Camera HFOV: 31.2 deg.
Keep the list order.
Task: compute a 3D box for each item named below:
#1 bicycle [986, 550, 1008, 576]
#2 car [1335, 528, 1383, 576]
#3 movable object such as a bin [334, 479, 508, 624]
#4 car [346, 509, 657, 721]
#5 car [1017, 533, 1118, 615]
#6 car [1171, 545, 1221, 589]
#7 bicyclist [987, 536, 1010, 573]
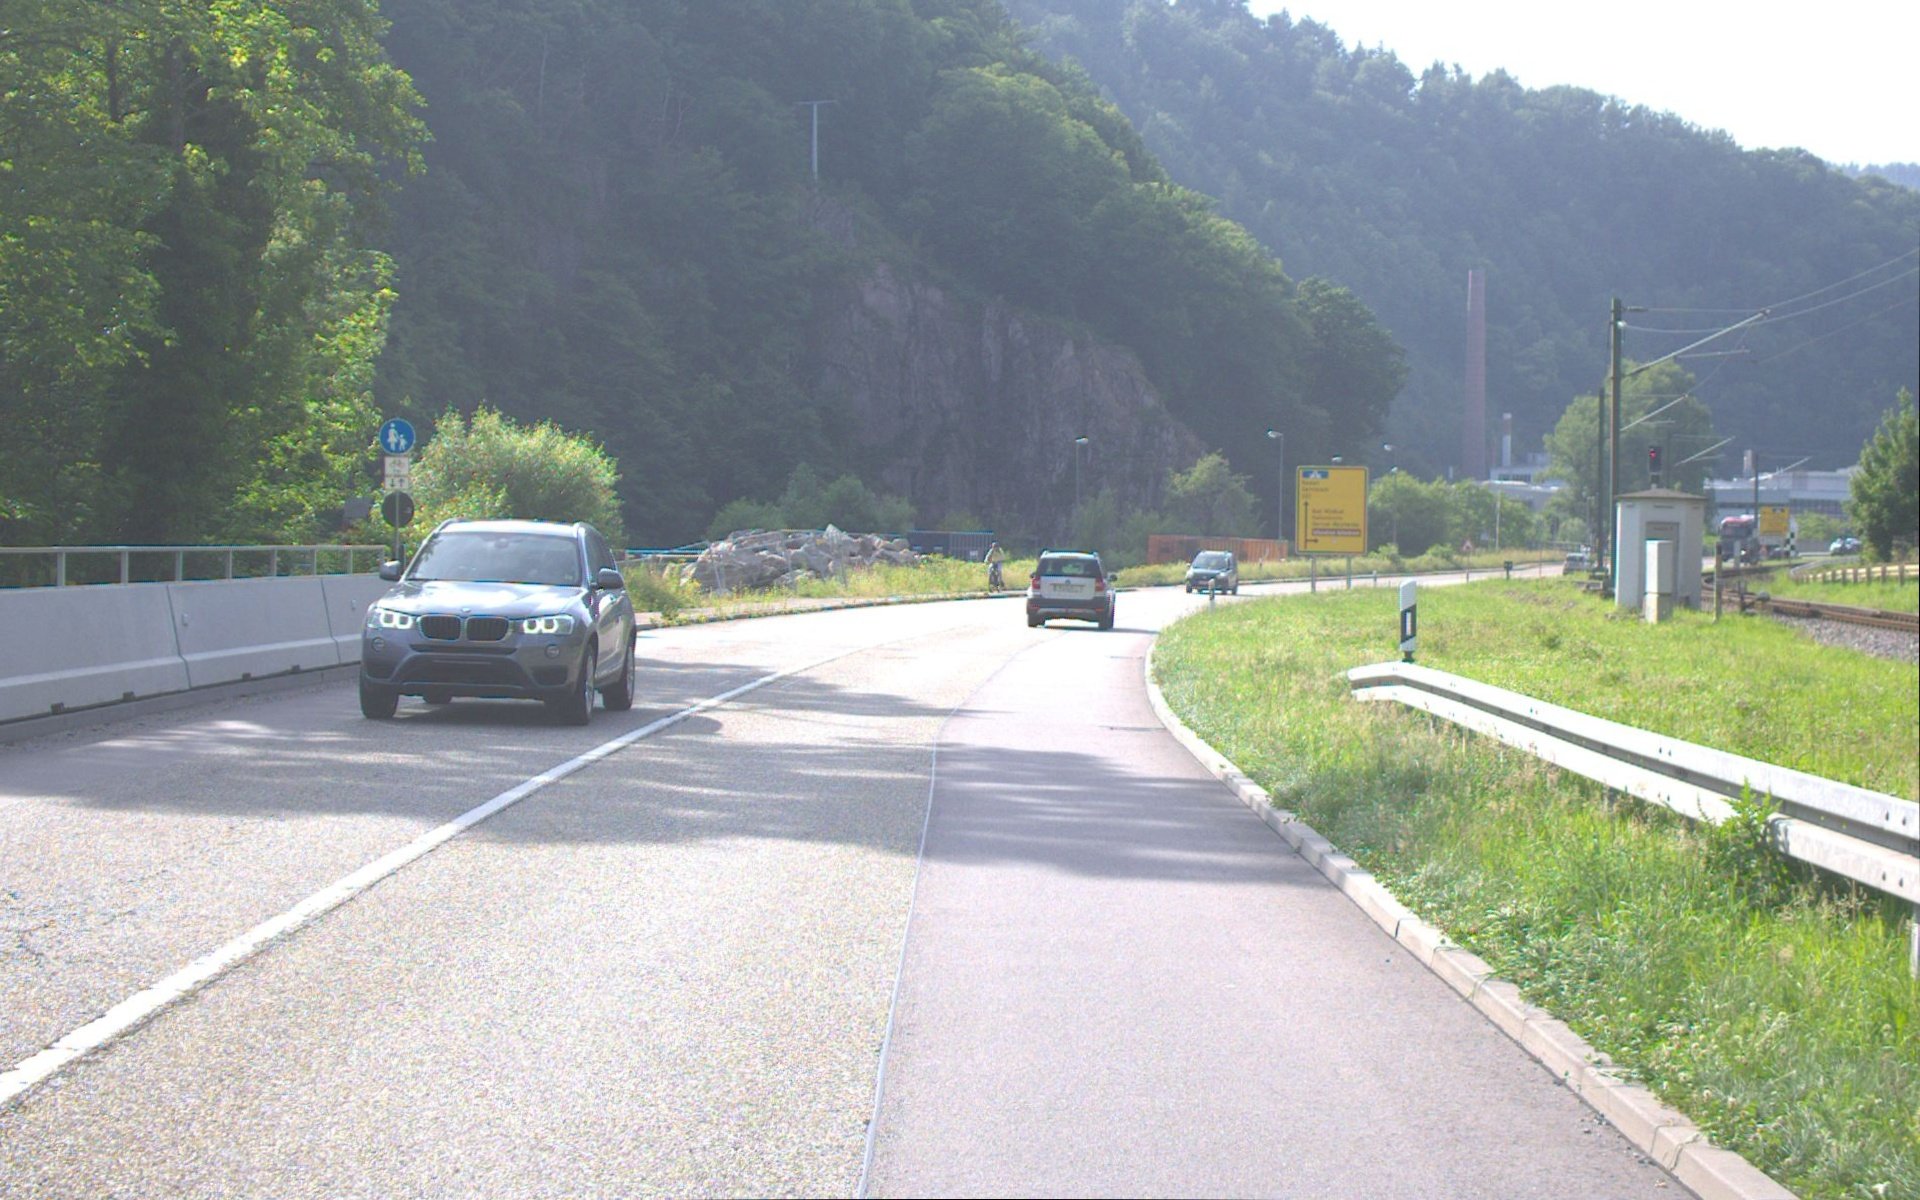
[{"bbox_3d":[1.264,-1.265,117.376,0.539,0.878,2.252,2,1,6],"label":"bicycle"},{"bbox_3d":[17.551,-2.110,151.033,1.994,2.007,3.999,-1,1,7],"label":"car"},{"bbox_3d":[-15.480,-1.380,99.516,2.699,3.934,9.989,-1,0,4],"label":"movable object such as a bin"},{"bbox_3d":[-3.810,0.079,29.328,1.993,1.623,4.508,1,1,0],"label":"car"},{"bbox_3d":[2.384,-0.573,75.228,1.994,1.717,3.989,-1,1,5],"label":"car"},{"bbox_3d":[10.073,-1.405,146.599,1.851,1.778,4.683,2,1,7],"label":"car"},{"bbox_3d":[1.323,-1.548,117.389,0.684,1.220,0.858,2,1,6],"label":"bicyclist"}]
